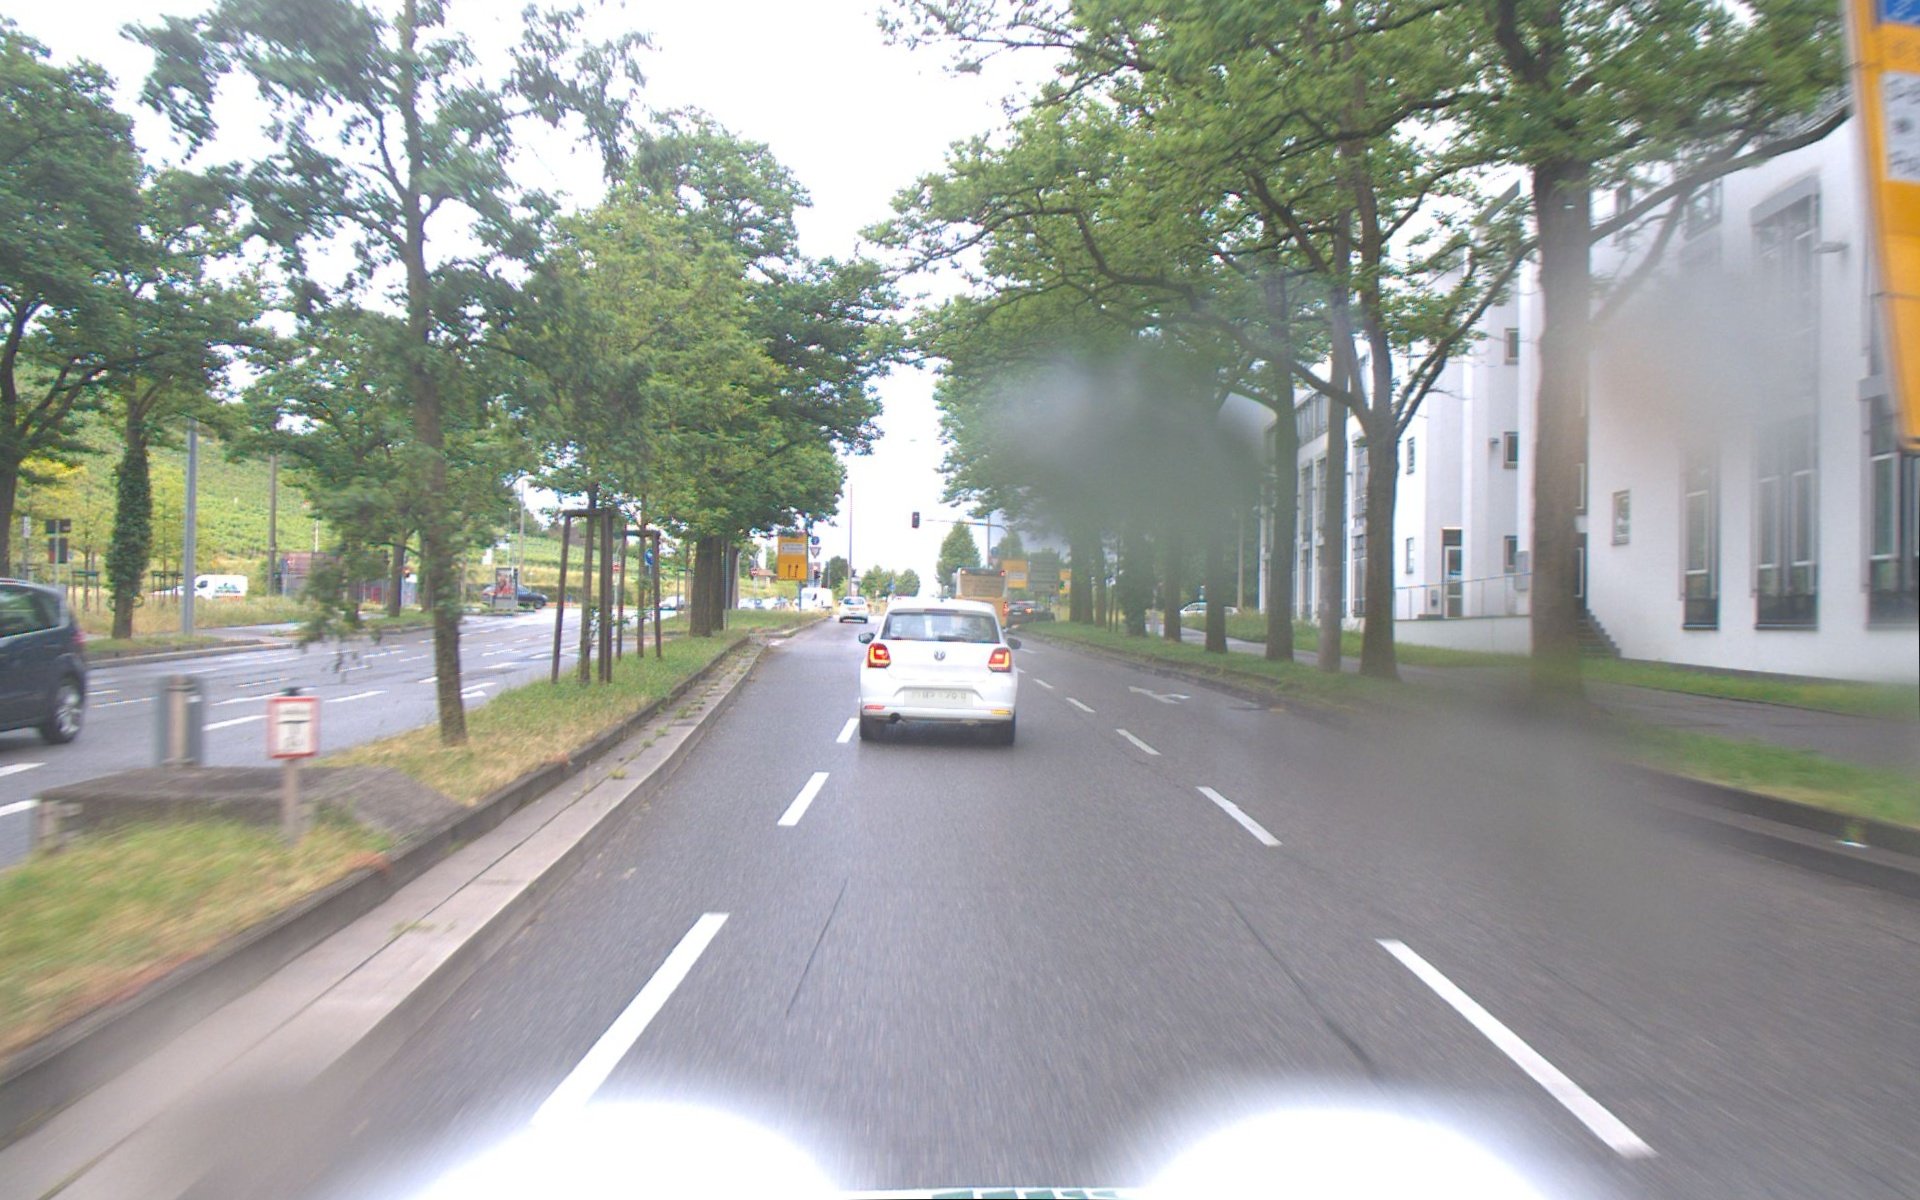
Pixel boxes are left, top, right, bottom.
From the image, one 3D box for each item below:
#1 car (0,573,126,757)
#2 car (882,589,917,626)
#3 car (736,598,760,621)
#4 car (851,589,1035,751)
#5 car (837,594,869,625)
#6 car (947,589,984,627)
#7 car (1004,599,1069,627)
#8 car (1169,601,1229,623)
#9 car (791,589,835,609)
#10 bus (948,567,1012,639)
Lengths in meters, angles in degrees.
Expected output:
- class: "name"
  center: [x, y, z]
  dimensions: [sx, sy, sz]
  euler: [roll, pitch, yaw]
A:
- class: "car"
  center: [-9.573, 0.597, 14.848]
  dimensions: [1.955, 1.644, 5.115]
  euler: [-1, 0, -5]
- class: "car"
  center: [-3.466, 0.464, 95.045]
  dimensions: [1.953, 2.049, 3.998]
  euler: [0, -1, -2]
- class: "car"
  center: [-19.298, 0.878, 150.612]
  dimensions: [1.955, 2.049, 3.995]
  euler: [1, -2, -5]
- class: "car"
  center: [-0.282, 0.688, 18.307]
  dimensions: [1.759, 1.528, 3.997]
  euler: [2, 0, -4]
- class: "car"
  center: [-6.202, 0.585, 96.540]
  dimensions: [1.758, 1.772, 3.998]
  euler: [0, -1, -3]
- class: "car"
  center: [0.284, 0.484, 91.445]
  dimensions: [1.953, 2.049, 3.998]
  euler: [0, -1, -2]
- class: "car"
  center: [4.396, 0.775, 94.822]
  dimensions: [1.671, 1.542, 3.802]
  euler: [-1, -2, 43]
- class: "car"
  center: [16.924, 0.848, 116.933]
  dimensions: [3.904, 1.563, 2.001]
  euler: [0, 0, 19]
- class: "car"
  center: [-15.514, -0.077, 174.772]
  dimensions: [1.954, 2.049, 5.706]
  euler: [0, 0, 25]
- class: "bus"
  center: [0.906, 0.123, 82.767]
  dimensions: [2.771, 3.324, 9.997]
  euler: [1, 0, -2]
